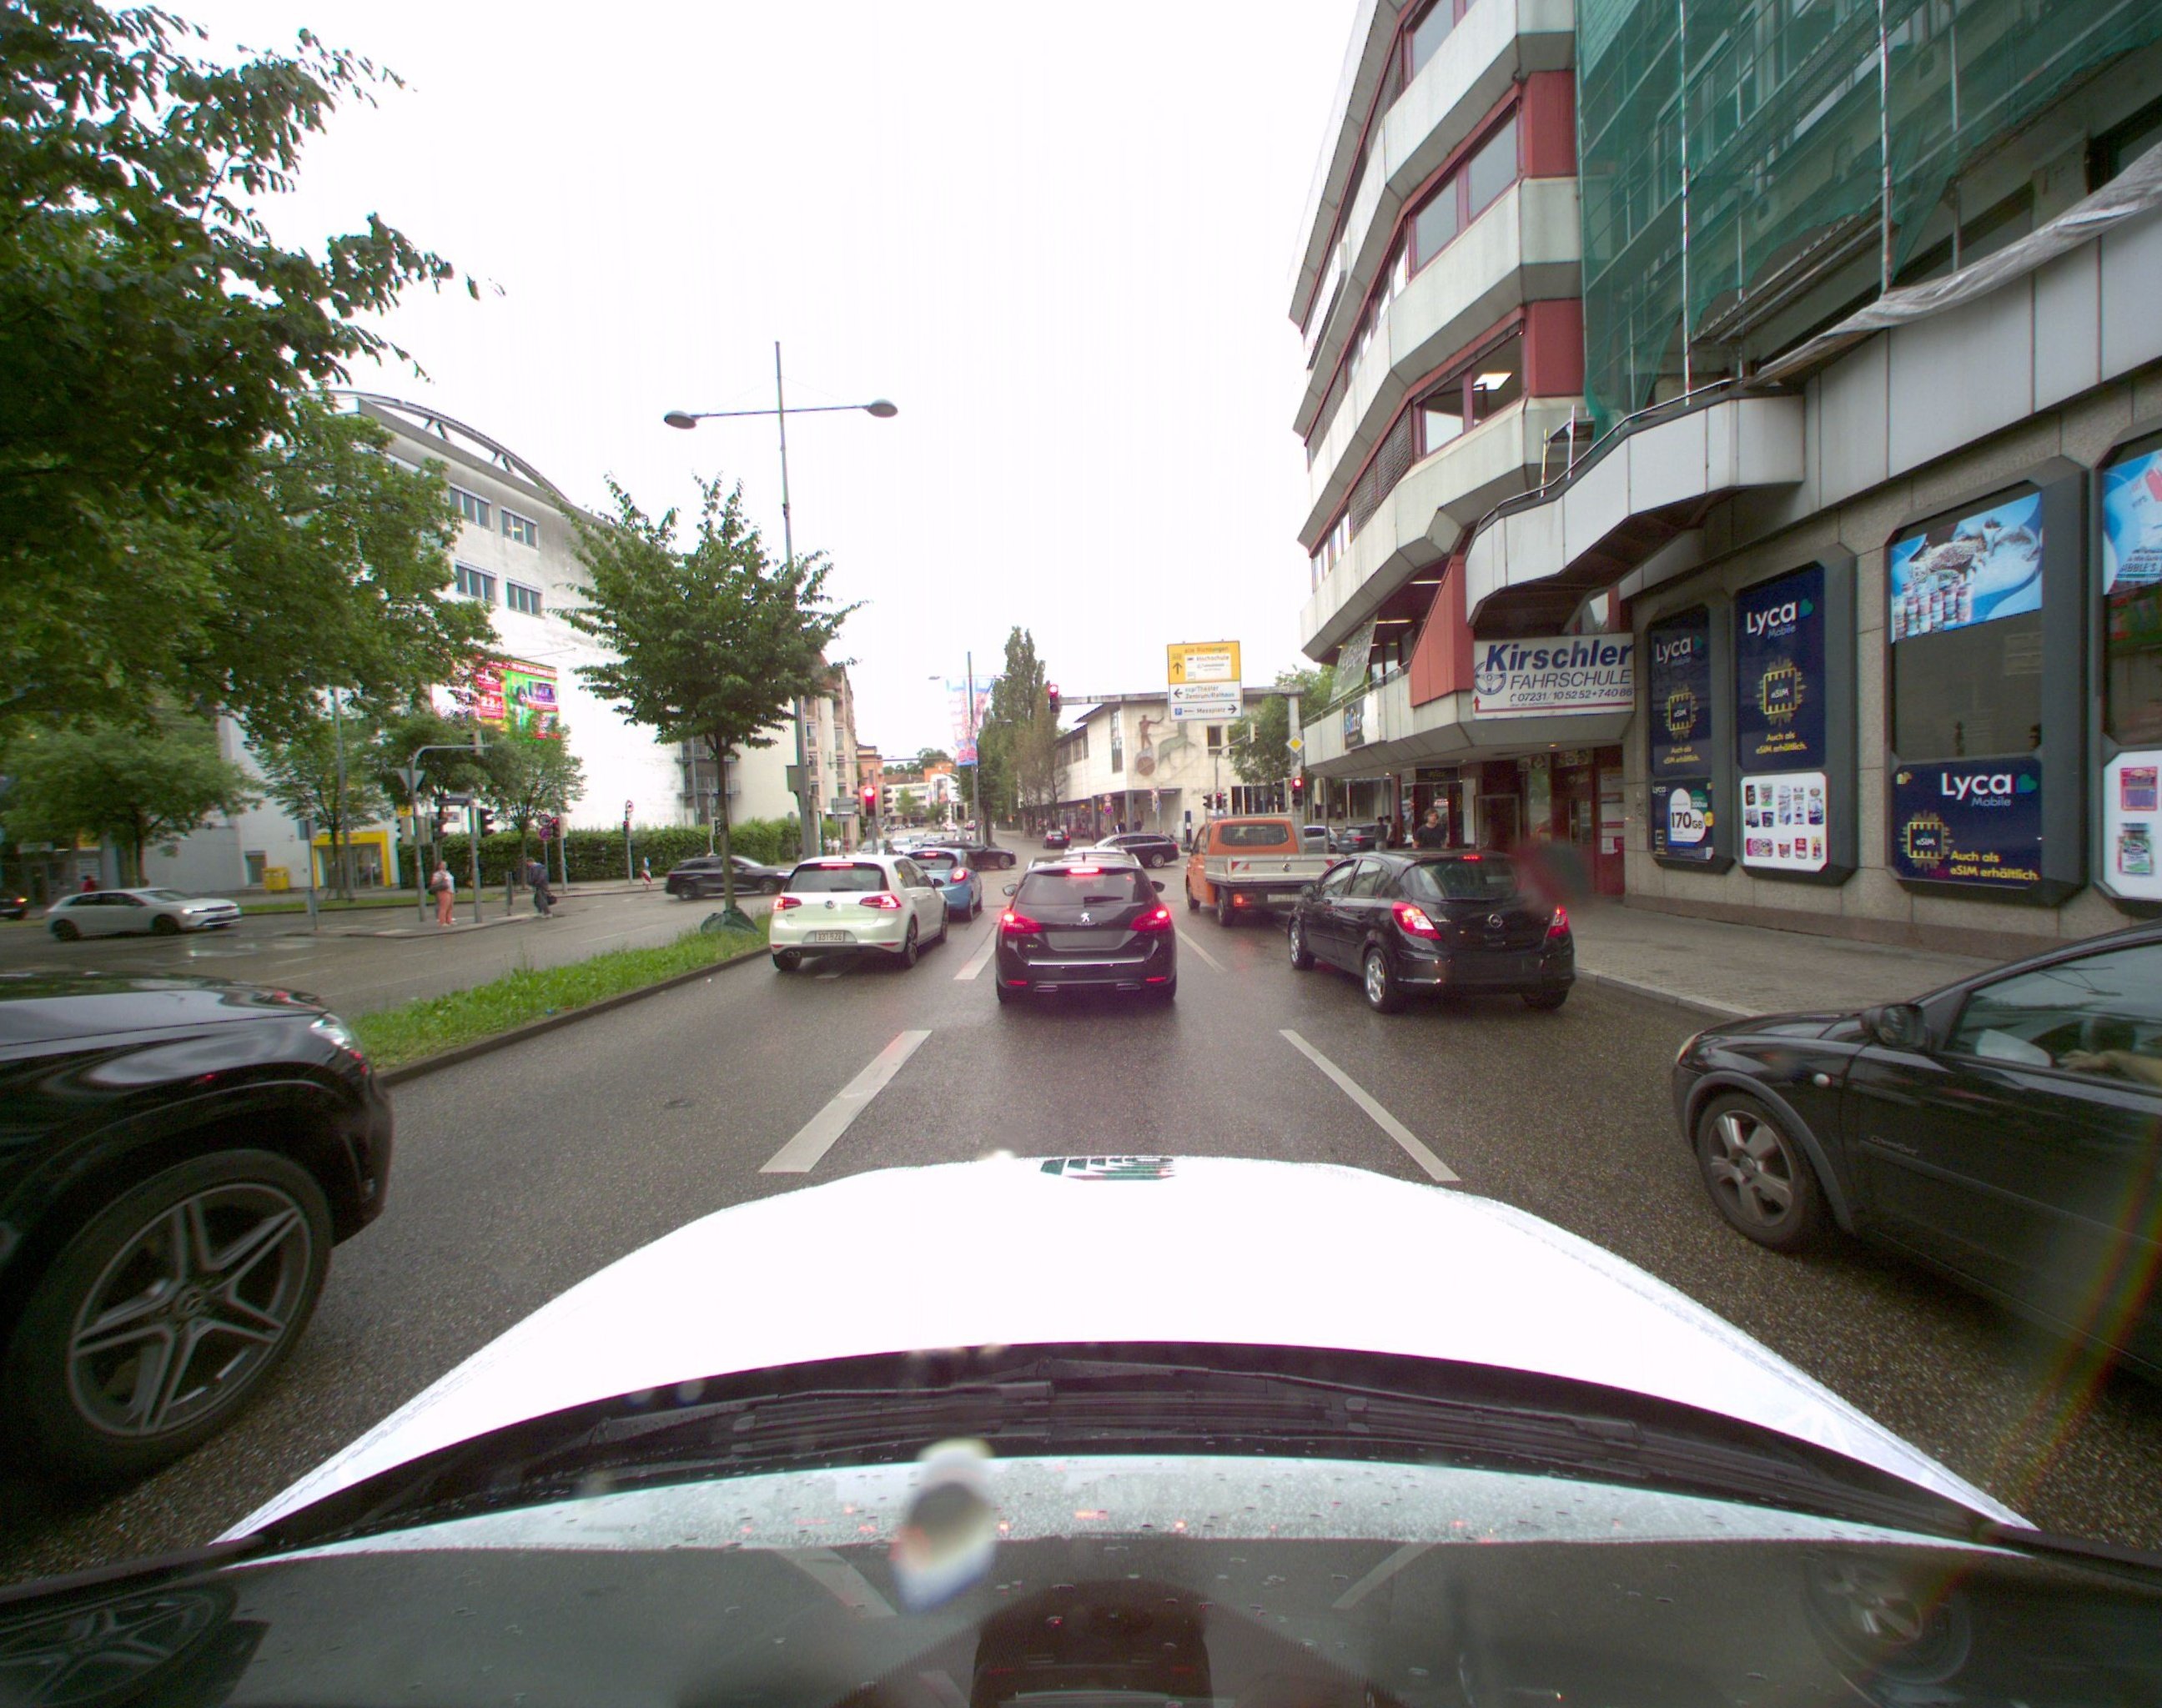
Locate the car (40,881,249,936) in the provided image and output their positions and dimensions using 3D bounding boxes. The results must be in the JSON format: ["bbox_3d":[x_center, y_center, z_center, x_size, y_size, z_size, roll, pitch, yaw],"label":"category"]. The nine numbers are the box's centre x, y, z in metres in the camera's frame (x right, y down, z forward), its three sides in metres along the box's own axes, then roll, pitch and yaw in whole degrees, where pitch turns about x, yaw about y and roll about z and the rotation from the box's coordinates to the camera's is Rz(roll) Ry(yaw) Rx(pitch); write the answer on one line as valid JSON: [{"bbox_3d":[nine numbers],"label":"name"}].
[{"bbox_3d":[-29.121,1.671,25.437,4.285,1.486,1.636,-1,1,-5],"label":"car"}]

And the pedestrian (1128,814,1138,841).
[{"bbox_3d":[3.723,-1.892,58.631,0.633,1.897,0.735,-1,-1,8],"label":"pedestrian"}]

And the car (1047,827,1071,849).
[{"bbox_3d":[-1.740,-1.223,63.240,1.721,1.490,4.727,-1,-1,-3],"label":"car"}]

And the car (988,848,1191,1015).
[{"bbox_3d":[0.079,0.670,9.118,1.772,1.429,3.842,-1,1,0],"label":"car"}]

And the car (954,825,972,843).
[{"bbox_3d":[-12.006,-2.034,83.102,1.743,1.640,3.988,-1,-1,-9],"label":"car"}]

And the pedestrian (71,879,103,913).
[{"bbox_3d":[-48.418,2.037,39.663,0.633,1.643,0.735,-1,-1,8],"label":"pedestrian"}]

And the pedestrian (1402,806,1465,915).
[{"bbox_3d":[6.216,0.115,14.407,0.736,1.816,0.776,-6,-1,13],"label":"pedestrian"}]

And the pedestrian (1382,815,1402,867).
[{"bbox_3d":[10.146,-0.414,26.548,0.395,1.640,0.504,-3,-1,2],"label":"pedestrian"}]

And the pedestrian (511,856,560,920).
[{"bbox_3d":[-15.697,0.968,23.446,0.921,1.784,0.708,-1,-1,-4],"label":"pedestrian"}]

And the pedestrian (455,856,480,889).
[{"bbox_3d":[-30.398,0.922,40.367,0.730,1.643,0.638,-1,-1,-6],"label":"pedestrian"}]

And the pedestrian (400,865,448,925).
[{"bbox_3d":[-18.789,1.165,23.300,0.750,1.661,0.628,-2,2,1],"label":"pedestrian"}]

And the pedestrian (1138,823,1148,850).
[{"bbox_3d":[4.456,-1.227,58.533,0.633,1.897,0.735,-1,-1,8],"label":"pedestrian"}]

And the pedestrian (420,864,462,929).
[{"bbox_3d":[-17.011,1.109,21.649,0.555,1.661,0.580,-2,2,2],"label":"pedestrian"}]

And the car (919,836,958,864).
[{"bbox_3d":[-8.583,-0.228,49.271,1.739,1.579,3.997,-1,-1,-1],"label":"car"}]

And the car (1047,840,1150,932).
[{"bbox_3d":[0.340,0.493,15.405,1.690,1.486,3.795,-1,1,2],"label":"car"}]

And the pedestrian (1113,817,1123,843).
[{"bbox_3d":[2.638,-1.698,57.733,0.633,1.758,0.735,-1,-1,8],"label":"pedestrian"}]

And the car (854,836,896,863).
[{"bbox_3d":[-11.970,-0.302,47.409,1.569,1.486,3.608,-1,1,-1],"label":"car"}]

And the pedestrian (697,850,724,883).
[{"bbox_3d":[-18.324,0.613,40.278,1.059,1.578,0.683,-1,-1,-3],"label":"pedestrian"}]

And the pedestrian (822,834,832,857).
[{"bbox_3d":[-19.184,-0.667,61.568,0.595,1.728,0.655,-1,-1,-7],"label":"pedestrian"}]

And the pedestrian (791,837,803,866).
[{"bbox_3d":[-17.600,-0.164,50.553,0.538,1.748,0.745,-1,-1,-7],"label":"pedestrian"}]

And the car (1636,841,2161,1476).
[{"bbox_3d":[3.257,0.692,1.906,1.600,1.429,3.626,-1,1,3],"label":"car"}]

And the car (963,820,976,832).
[{"bbox_3d":[-20.261,-5.006,147.912,1.709,1.936,3.979,0,-1,-15],"label":"car"}]

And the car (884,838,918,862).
[{"bbox_3d":[-11.999,-0.289,54.430,1.630,1.486,3.604,-1,1,-4],"label":"car"}]

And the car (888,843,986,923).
[{"bbox_3d":[-3.019,0.538,17.671,1.629,1.486,3.606,-1,1,-3],"label":"car"}]

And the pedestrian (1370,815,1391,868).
[{"bbox_3d":[9.617,-0.397,26.172,0.424,1.682,0.450,-3,-1,0],"label":"pedestrian"}]

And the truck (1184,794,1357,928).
[{"bbox_3d":[3.429,0.049,15.859,2.170,2.172,5.020,-1,1,0],"label":"truck"}]

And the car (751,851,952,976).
[{"bbox_3d":[-3.041,0.698,11.642,1.772,1.429,3.841,-1,1,0],"label":"car"}]

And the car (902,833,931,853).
[{"bbox_3d":[-12.431,-0.847,61.710,1.630,1.486,3.604,-1,1,-4],"label":"car"}]

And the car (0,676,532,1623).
[{"bbox_3d":[-3.141,0.575,0.561,1.903,1.870,5.076,-1,-1,3],"label":"car"}]

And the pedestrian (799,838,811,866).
[{"bbox_3d":[-17.645,-0.138,52.046,0.538,1.748,0.564,-1,-1,-3],"label":"pedestrian"}]

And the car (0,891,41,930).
[{"bbox_3d":[-45.933,2.463,33.749,4.023,1.454,1.800,-3,3,12],"label":"car"}]

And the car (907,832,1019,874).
[{"bbox_3d":[-5.178,-0.061,36.027,4.528,1.454,1.773,-6,3,-37],"label":"car"}]

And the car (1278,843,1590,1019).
[{"bbox_3d":[3.398,0.614,8.677,1.611,1.429,3.840,-1,1,-1],"label":"car"}]

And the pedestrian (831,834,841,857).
[{"bbox_3d":[-18.562,-0.673,61.681,0.595,1.728,0.655,-1,-1,-7],"label":"pedestrian"}]

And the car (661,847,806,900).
[{"bbox_3d":[-11.834,0.634,27.976,4.226,1.565,1.699,-3,1,-9],"label":"car"}]

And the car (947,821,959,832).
[{"bbox_3d":[-23.113,-4.946,146.921,1.709,1.882,3.979,0,-1,-15],"label":"car"}]

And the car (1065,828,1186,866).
[{"bbox_3d":[1.832,-0.320,33.667,4.734,1.486,1.629,-1,1,-18],"label":"car"}]

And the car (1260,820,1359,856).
[{"bbox_3d":[9.977,-0.697,35.676,3.896,1.486,1.617,0,-1,-11],"label":"car"}]
